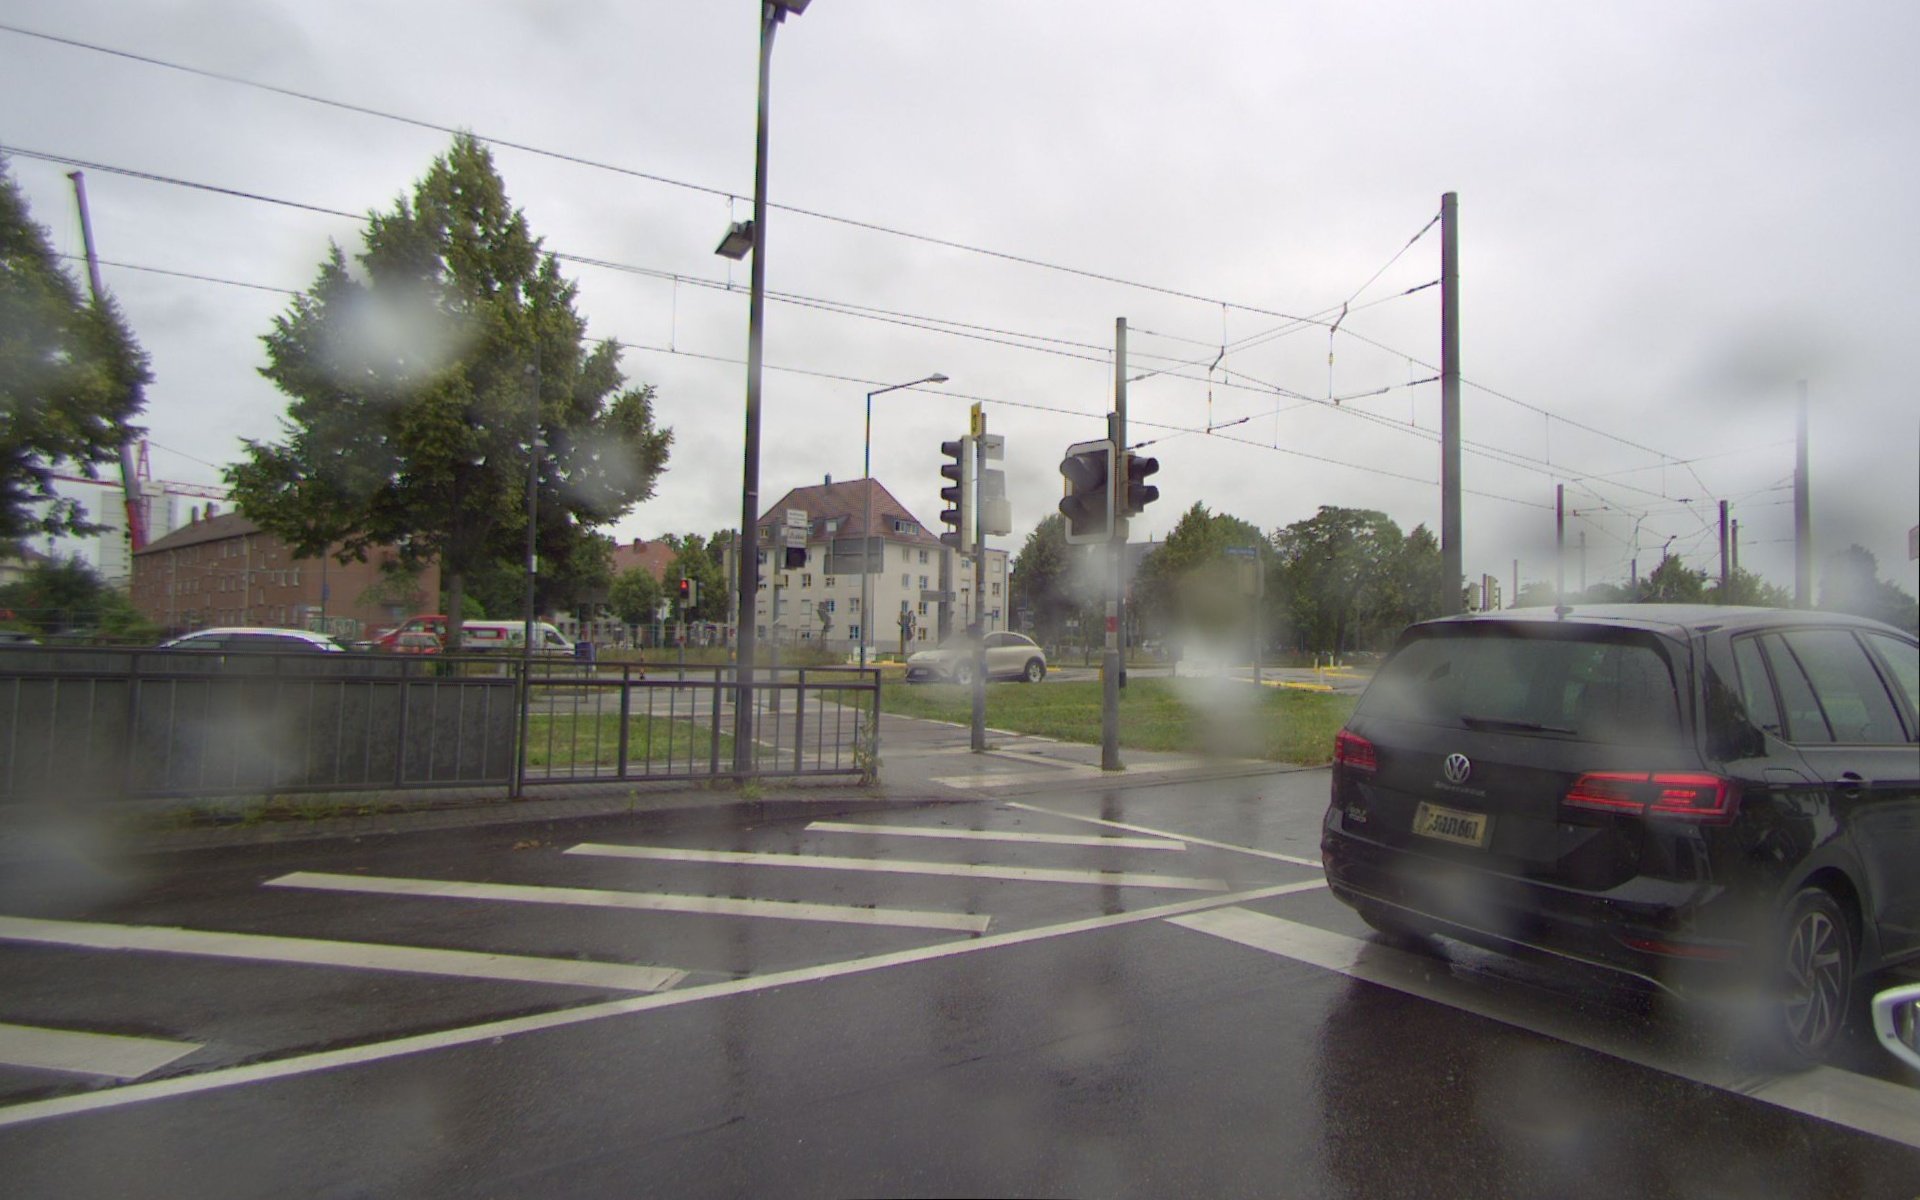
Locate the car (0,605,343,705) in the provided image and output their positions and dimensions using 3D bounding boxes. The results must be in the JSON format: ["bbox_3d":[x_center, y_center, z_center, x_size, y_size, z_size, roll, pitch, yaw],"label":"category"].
[{"bbox_3d":[-13.315,0.929,17.271,4.576,1.506,1.815,3,-1,-33],"label":"car"}]

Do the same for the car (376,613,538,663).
[{"bbox_3d":[-23.042,1.753,46.337,6.329,2.040,2.346,2,0,-20],"label":"car"}]

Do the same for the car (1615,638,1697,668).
[{"bbox_3d":[46.309,3.530,66.894,4.082,1.746,1.835,2,0,17],"label":"car"}]

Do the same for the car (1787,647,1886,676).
[{"bbox_3d":[54.439,3.775,62.476,4.475,1.511,1.606,2,0,36],"label":"car"}]

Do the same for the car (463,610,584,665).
[{"bbox_3d":[-25.938,2.243,59.973,6.329,2.978,2.346,2,0,-20],"label":"car"}]

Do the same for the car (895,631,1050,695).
[{"bbox_3d":[0.401,1.660,27.158,1.826,1.506,4.202,2,-1,43],"label":"car"}]

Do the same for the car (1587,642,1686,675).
[{"bbox_3d":[42.495,3.680,63.198,4.768,1.767,1.779,2,0,15],"label":"car"}]

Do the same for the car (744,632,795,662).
[{"bbox_3d":[-16.524,4.029,86.812,1.987,2.358,4.777,2,-1,-44],"label":"car"}]

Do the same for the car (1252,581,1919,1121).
[{"bbox_3d":[3.586,0.787,4.715,4.281,1.537,1.775,2,-1,-30],"label":"car"}]

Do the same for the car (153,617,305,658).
[{"bbox_3d":[-39.782,2.045,54.813,2.325,2.040,6.388,2,-1,44],"label":"car"}]

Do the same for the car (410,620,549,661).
[{"bbox_3d":[-25.091,2.122,52.790,6.329,2.040,2.347,1,-2,-20],"label":"car"}]
